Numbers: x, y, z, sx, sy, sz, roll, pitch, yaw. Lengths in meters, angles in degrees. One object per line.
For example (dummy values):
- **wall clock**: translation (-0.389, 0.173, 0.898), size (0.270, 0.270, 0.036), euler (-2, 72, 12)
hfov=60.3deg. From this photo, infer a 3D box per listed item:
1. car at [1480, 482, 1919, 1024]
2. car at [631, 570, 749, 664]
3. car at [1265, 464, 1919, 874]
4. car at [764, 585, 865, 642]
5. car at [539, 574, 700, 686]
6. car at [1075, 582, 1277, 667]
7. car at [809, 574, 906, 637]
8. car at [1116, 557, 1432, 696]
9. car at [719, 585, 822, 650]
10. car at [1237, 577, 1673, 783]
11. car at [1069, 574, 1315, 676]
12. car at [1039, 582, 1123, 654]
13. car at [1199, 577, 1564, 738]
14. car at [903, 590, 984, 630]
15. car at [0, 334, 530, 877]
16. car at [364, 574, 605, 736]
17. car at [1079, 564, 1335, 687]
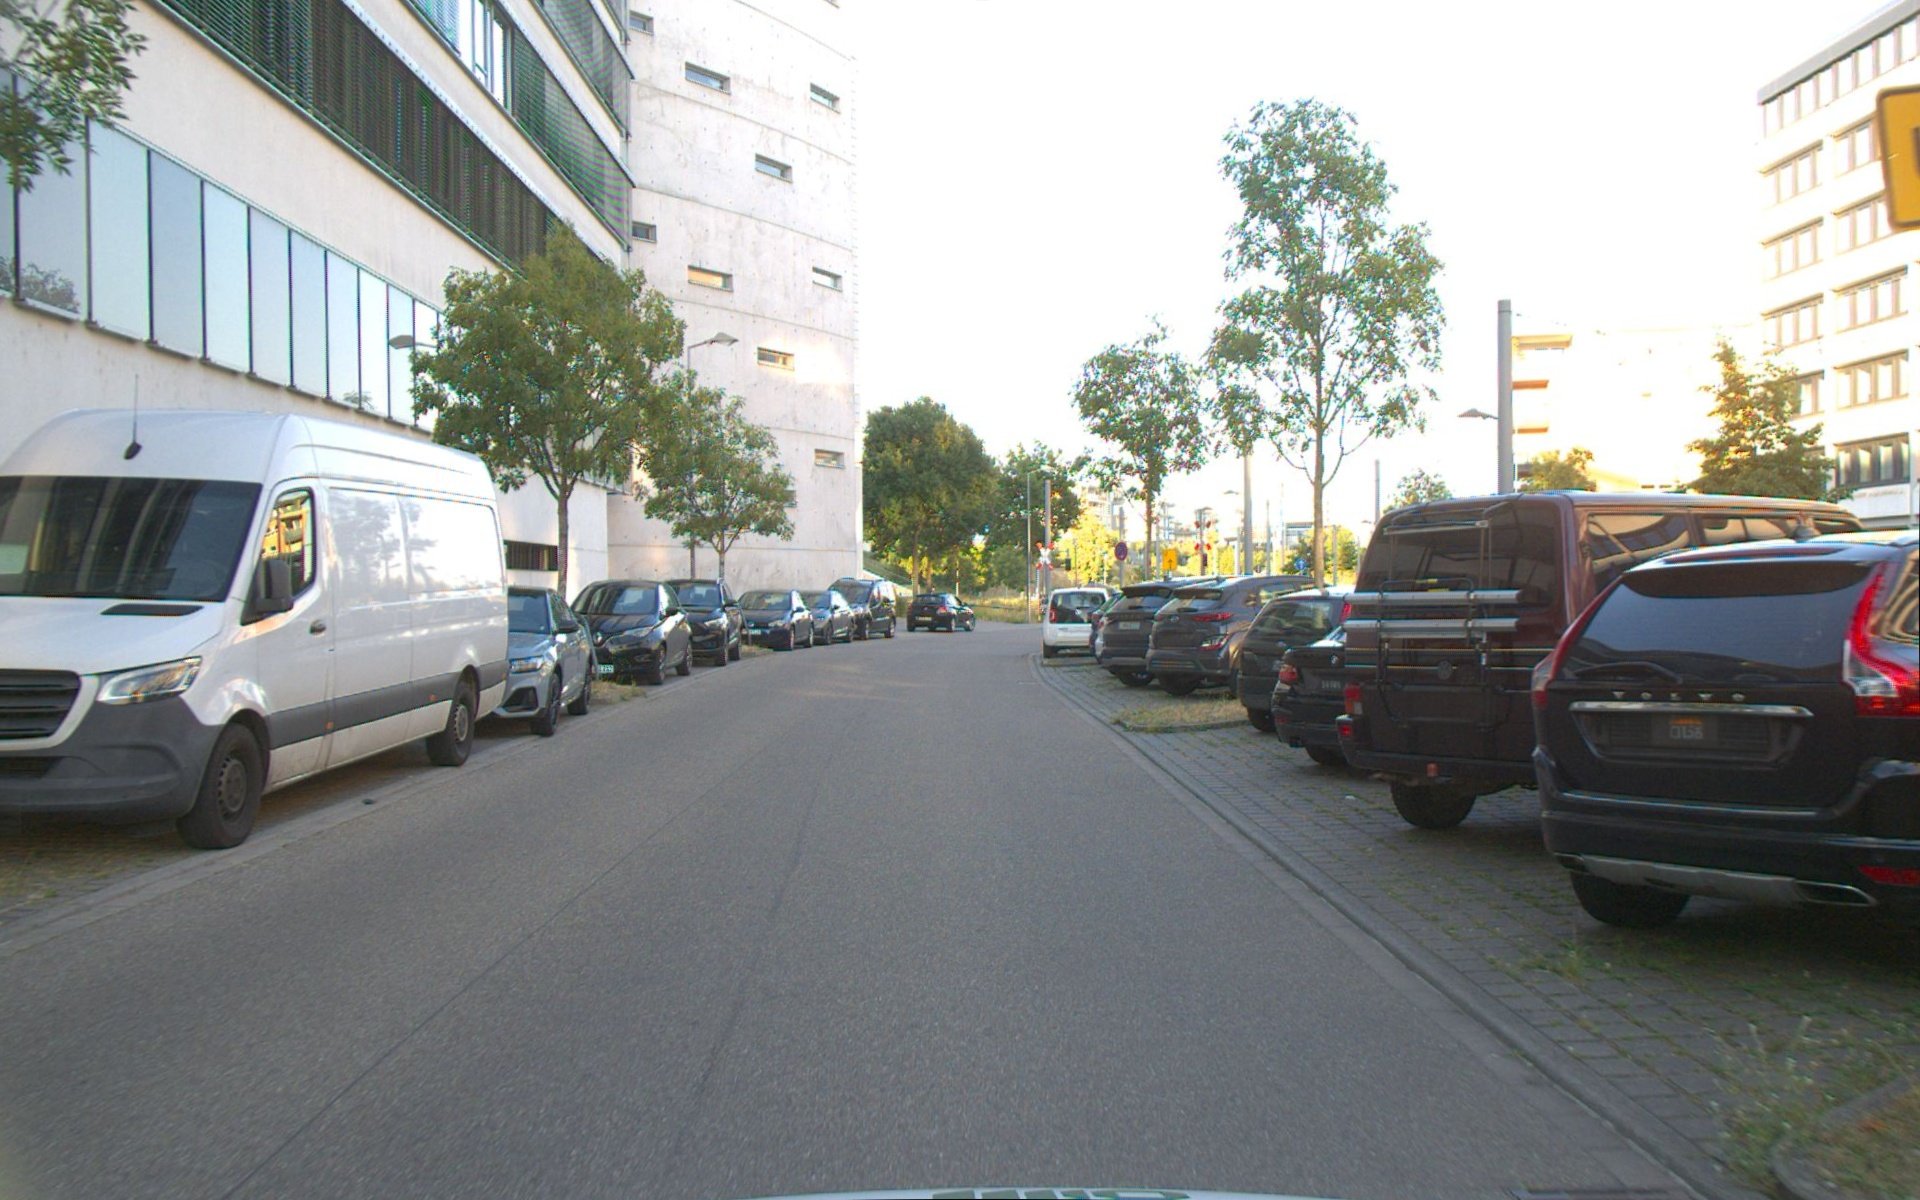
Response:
- **car**: translation (4.547, 0.495, 7.431), size (4.550, 1.779, 1.849), euler (0, 1, -35)
- **car**: translation (-5.206, 0.274, 32.356), size (1.720, 1.682, 3.947), euler (1, 1, -2)
- **car**: translation (4.212, 0.343, 10.442), size (4.550, 2.071, 1.849), euler (0, 1, -35)
- **car**: translation (-4.021, 0.339, 46.508), size (1.686, 1.482, 4.698), euler (2, 1, 9)
- **car**: translation (-5.269, 0.404, 26.078), size (1.720, 1.588, 4.043), euler (1, 1, -1)
- **car**: translation (4.222, 0.455, 32.181), size (3.707, 1.535, 1.669), euler (1, 1, -33)
- **car**: translation (-3.149, 0.147, 51.628), size (1.720, 1.830, 4.467), euler (2, 1, 14)
- **car**: translation (4.345, 0.331, 22.846), size (3.931, 1.668, 1.954), euler (-3, 0, -29)
- **car**: translation (-4.673, 0.387, 41.380), size (1.686, 1.482, 4.274), euler (2, 1, 5)
- **car**: translation (4.218, 0.584, 13.881), size (3.738, 1.491, 1.617), euler (0, 1, -37)
- **car**: translation (4.040, 0.398, 28.733), size (3.881, 1.535, 1.936), euler (-3, 1, -31)
- **car**: translation (2.742, 0.363, 36.961), size (1.686, 1.493, 3.555), euler (-1, 1, 7)
- **car**: translation (4.424, 0.536, 17.172), size (3.738, 1.467, 1.740), euler (0, 1, -37)
- **car**: translation (-0.575, 0.350, 62.102), size (1.903, 1.406, 4.402), euler (2, 1, 15)
- **car**: translation (-4.873, -0.038, 11.624), size (1.918, 2.662, 6.892), euler (1, 1, -1)
- **car**: translation (-4.855, 0.491, 17.397), size (1.722, 1.464, 3.897), euler (1, 1, -6)
- **car**: translation (3.838, 0.361, 25.570), size (3.733, 1.756, 1.743), euler (0, 1, -34)
